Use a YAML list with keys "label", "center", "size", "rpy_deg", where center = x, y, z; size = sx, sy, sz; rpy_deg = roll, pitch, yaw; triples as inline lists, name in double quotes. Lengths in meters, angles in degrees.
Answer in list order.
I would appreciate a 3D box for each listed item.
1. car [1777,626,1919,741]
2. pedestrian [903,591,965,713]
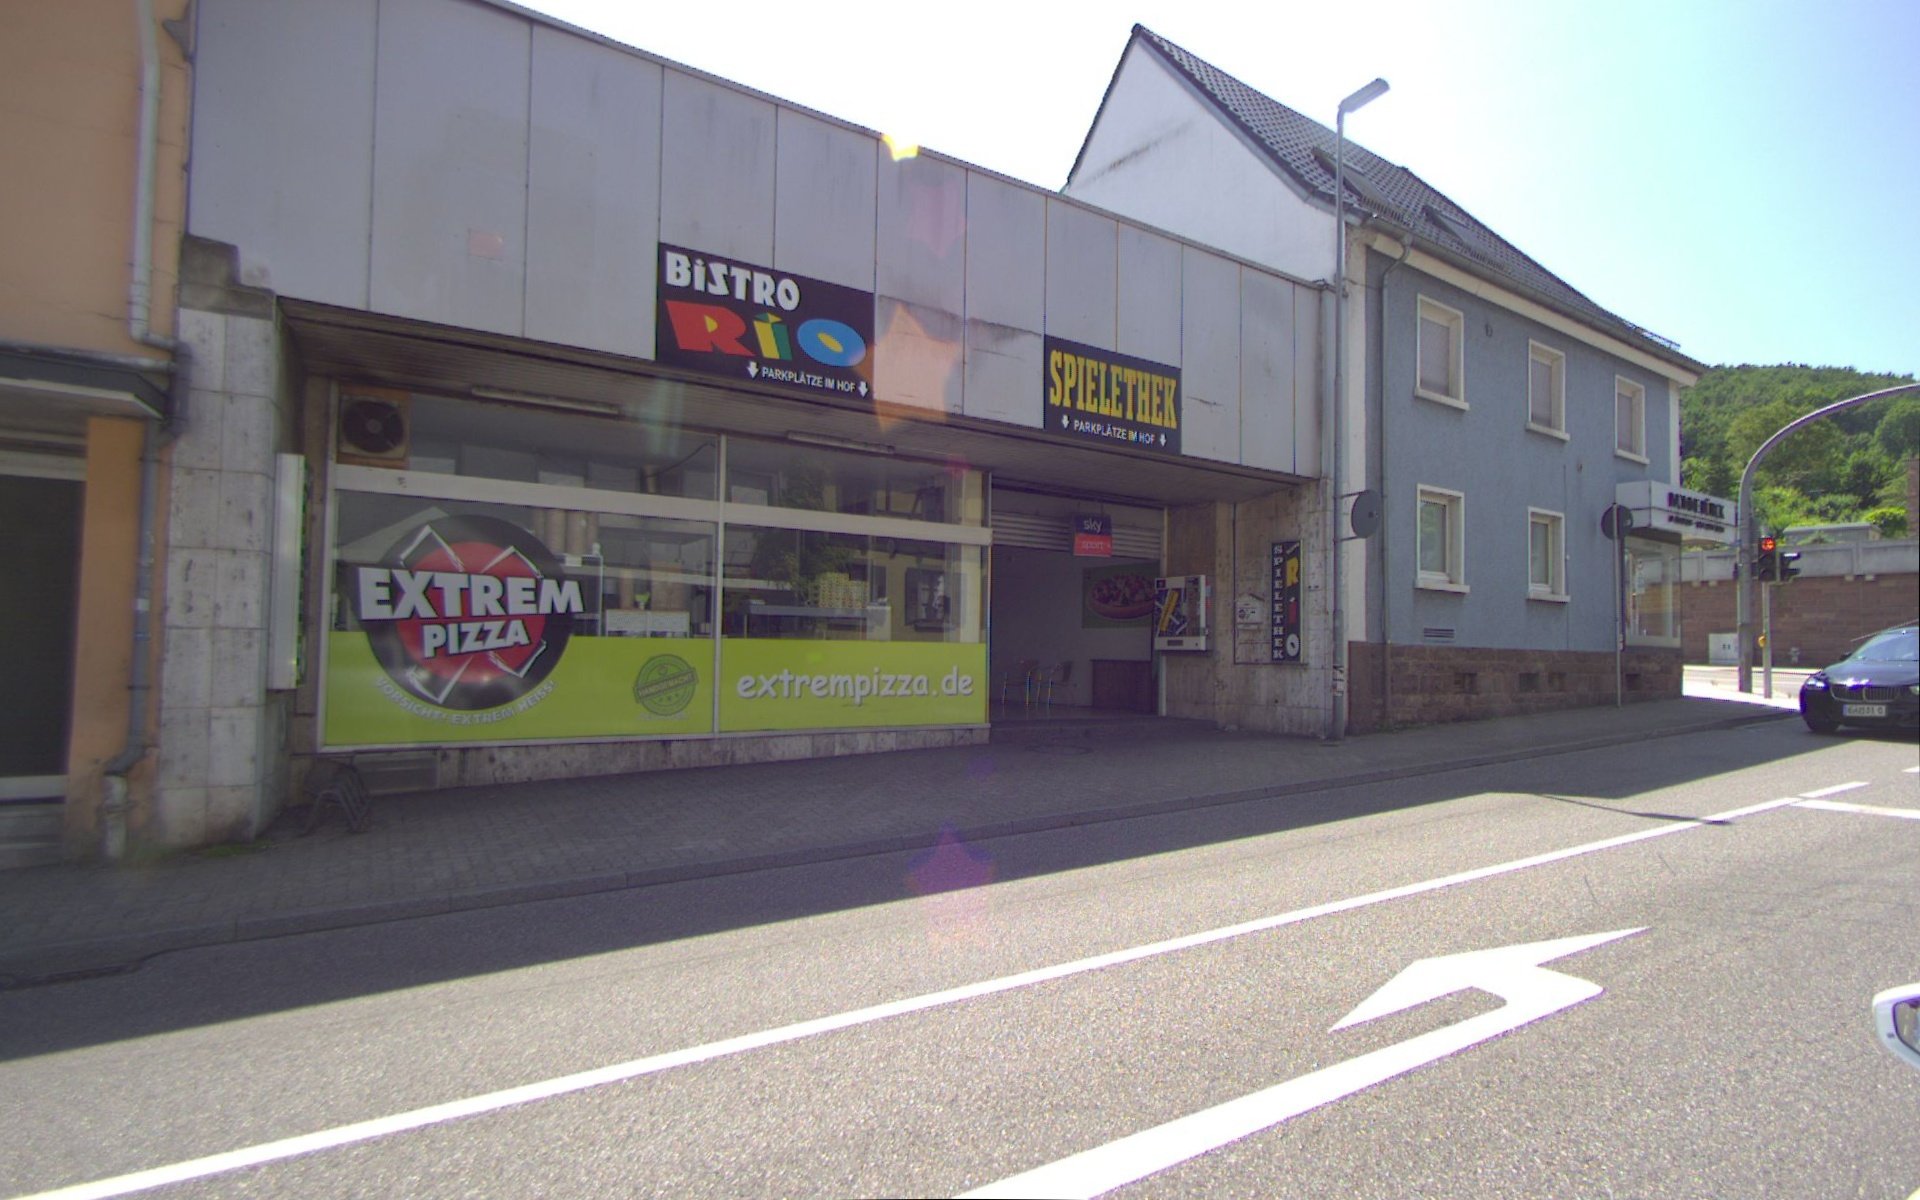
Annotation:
- label: "car"
  center: [14.470, 1.188, 14.802]
  size: [4.730, 1.506, 1.793]
  rpy_deg: [1, -4, -24]
- label: "pedestrian"
  center: [-0.414, 0.802, 15.729]
  size: [0.687, 1.852, 0.738]
  rpy_deg: [1, -1, -32]
